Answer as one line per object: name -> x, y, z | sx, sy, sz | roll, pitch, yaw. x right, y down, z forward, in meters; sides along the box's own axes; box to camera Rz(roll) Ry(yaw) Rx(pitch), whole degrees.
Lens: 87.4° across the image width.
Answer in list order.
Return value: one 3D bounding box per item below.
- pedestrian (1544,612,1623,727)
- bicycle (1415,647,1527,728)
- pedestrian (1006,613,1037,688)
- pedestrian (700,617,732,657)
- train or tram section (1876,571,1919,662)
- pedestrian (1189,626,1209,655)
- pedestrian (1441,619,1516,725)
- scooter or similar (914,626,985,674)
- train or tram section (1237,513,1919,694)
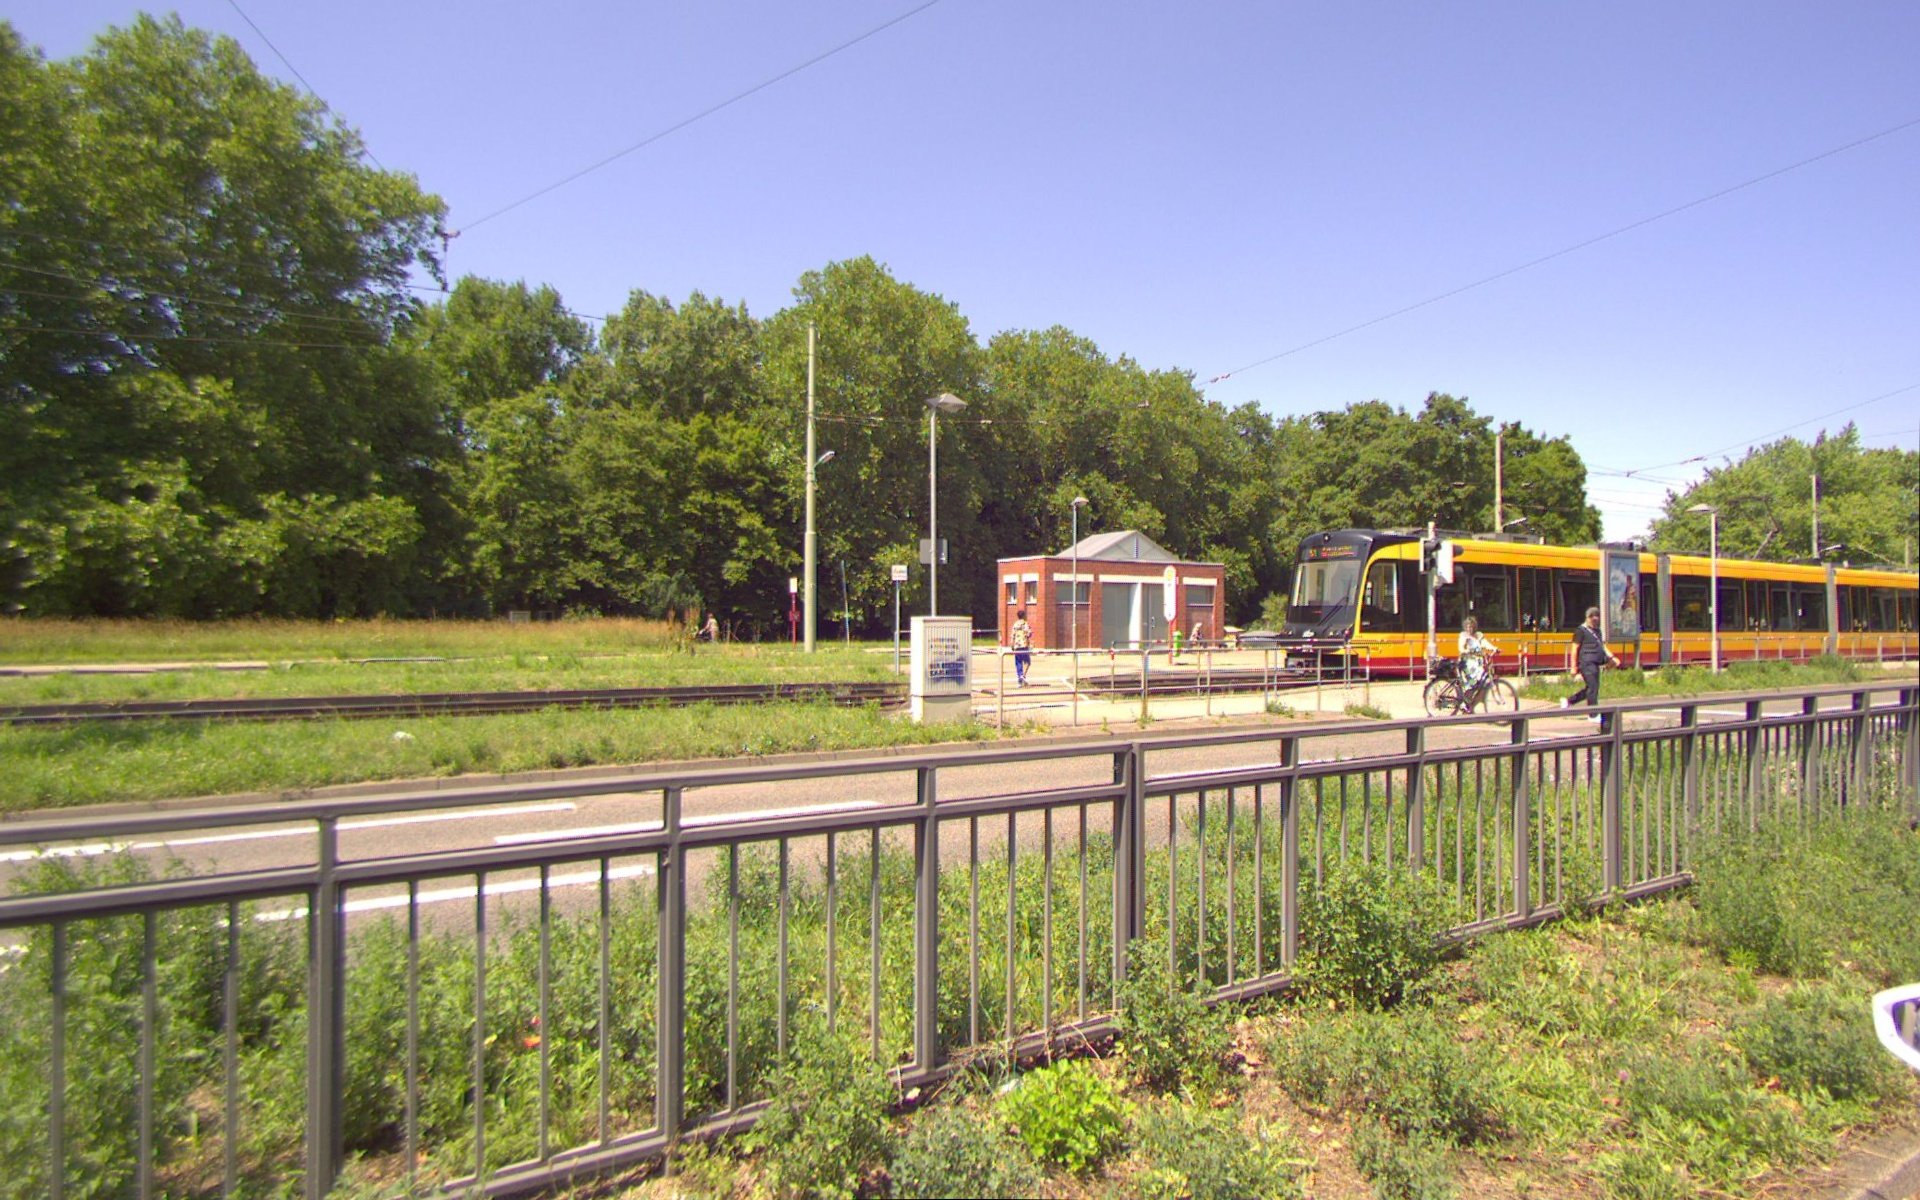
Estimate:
pedestrian -> 10.241, 1.113, 16.517 | 0.691, 1.820, 0.961 | 1, 0, -1
bicycle -> 8.160, 1.370, 16.122 | 0.239, 1.172, 1.858 | 1, -1, -24
pedestrian -> 1.307, 1.053, 21.287 | 0.527, 1.561, 0.870 | 0, -1, 13
pedestrian -> -10.572, 1.587, 43.494 | 1.245, 1.724, 0.517 | 0, 0, 15
train or tram section -> 50.037, 0.874, 47.362 | 25.695, 3.717, 2.774 | 1, -1, -31
pedestrian -> 8.729, 1.473, 36.703 | 0.516, 1.032, 0.479 | 1, -1, -28
pedestrian -> 8.400, 1.144, 16.287 | 0.695, 1.650, 0.817 | 1, 0, -24
scooter or similar -> -0.258, 1.224, 24.858 | 1.640, 1.142, 0.613 | 0, 0, 14
train or tram section -> 23.005, 0.372, 31.336 | 37.080, 3.717, 2.774 | 1, -1, -31
